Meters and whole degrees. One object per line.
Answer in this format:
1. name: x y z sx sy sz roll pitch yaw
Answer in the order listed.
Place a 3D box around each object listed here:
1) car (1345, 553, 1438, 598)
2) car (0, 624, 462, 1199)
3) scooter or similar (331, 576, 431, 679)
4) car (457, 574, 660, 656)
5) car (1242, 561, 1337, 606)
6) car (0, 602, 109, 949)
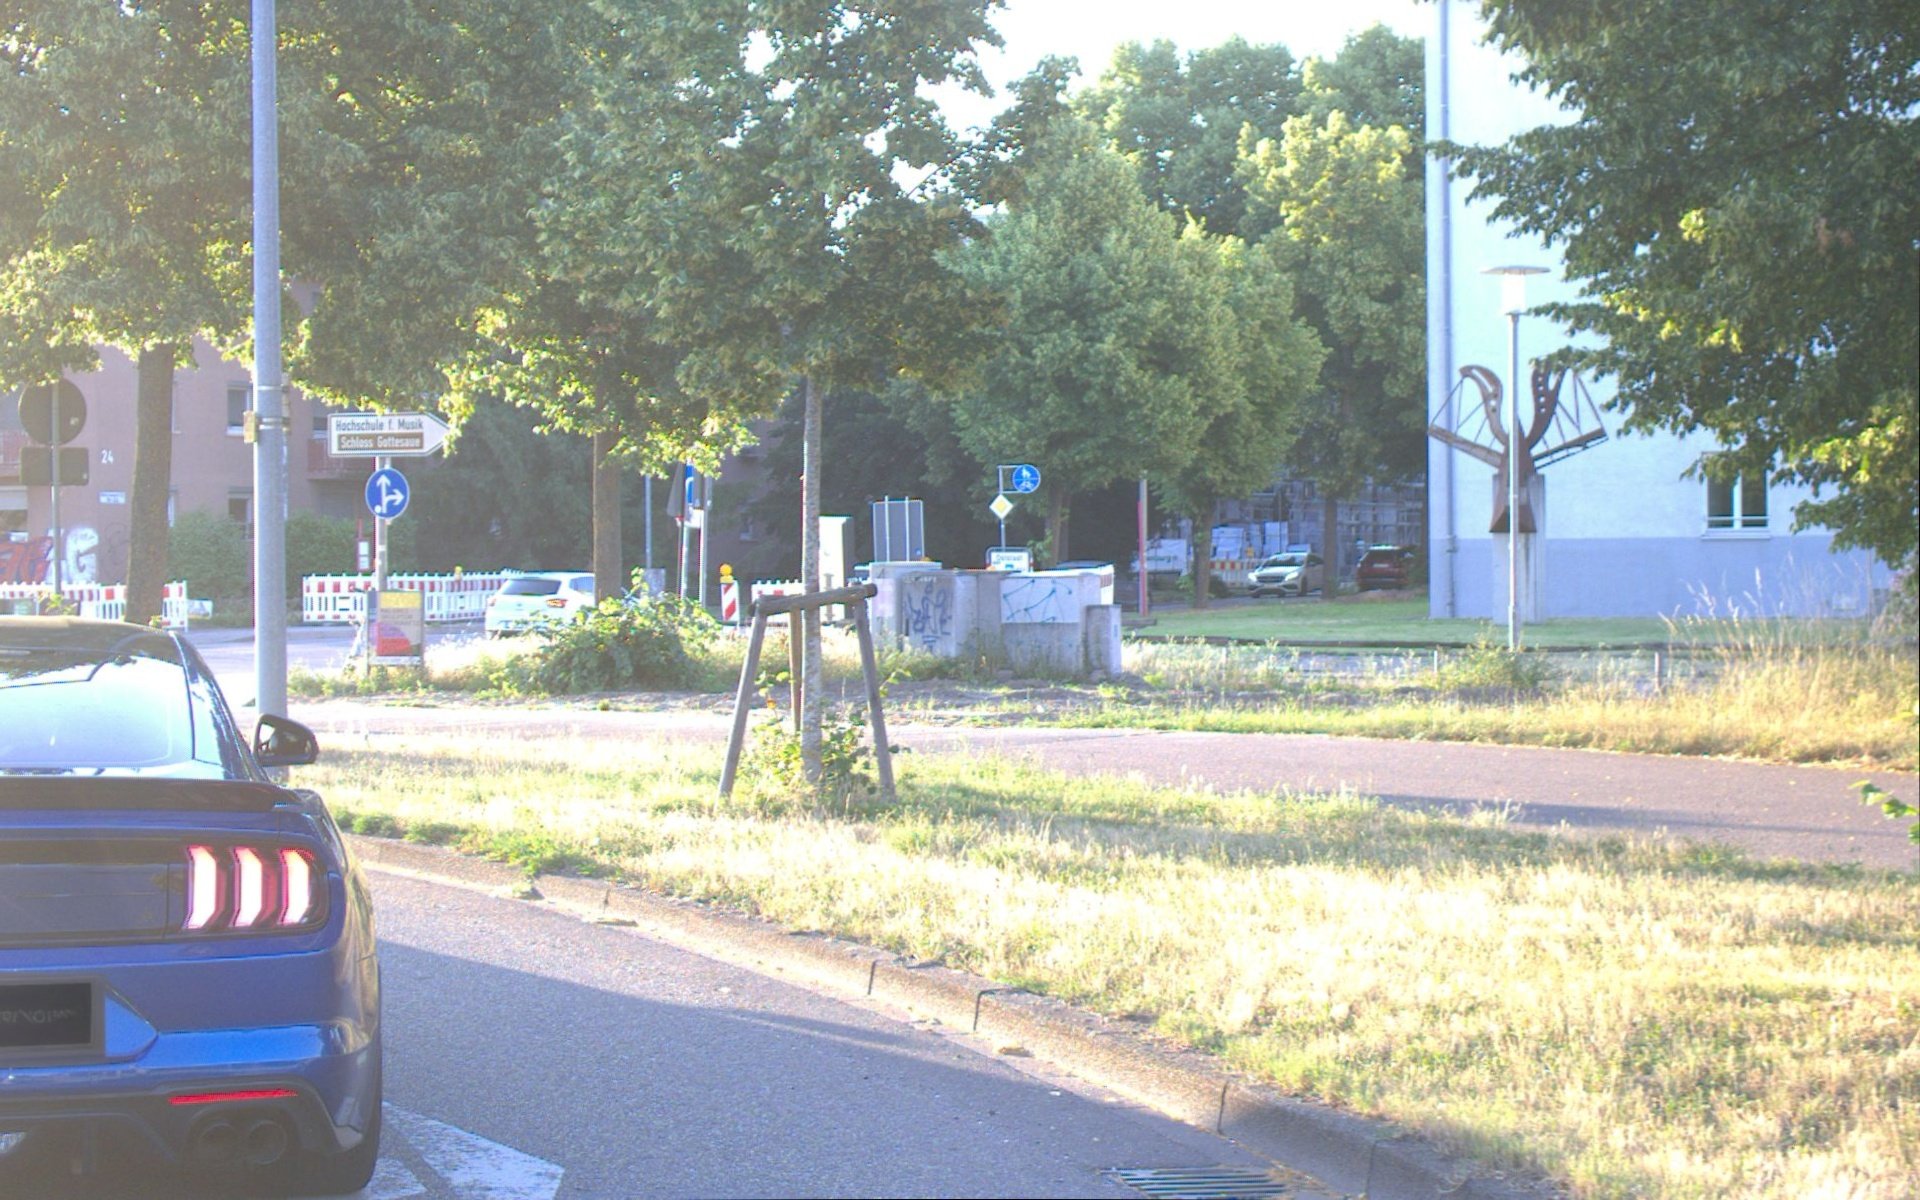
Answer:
1. car: 14.055 -0.806 111.833 1.878 1.396 3.911 0 1 25
2. car: -2.752 0.759 8.931 1.950 1.337 4.672 2 0 -20
3. scooter or similar: -7.055 0.327 41.875 1.120 1.234 0.442 0 1 -28
4. car: -7.291 0.249 62.748 1.878 1.396 3.911 0 1 26
5. car: 10.770 -0.556 112.124 1.878 1.396 3.911 0 1 25
6. car: -5.539 0.699 15.826 1.951 1.422 4.430 1 0 -30
